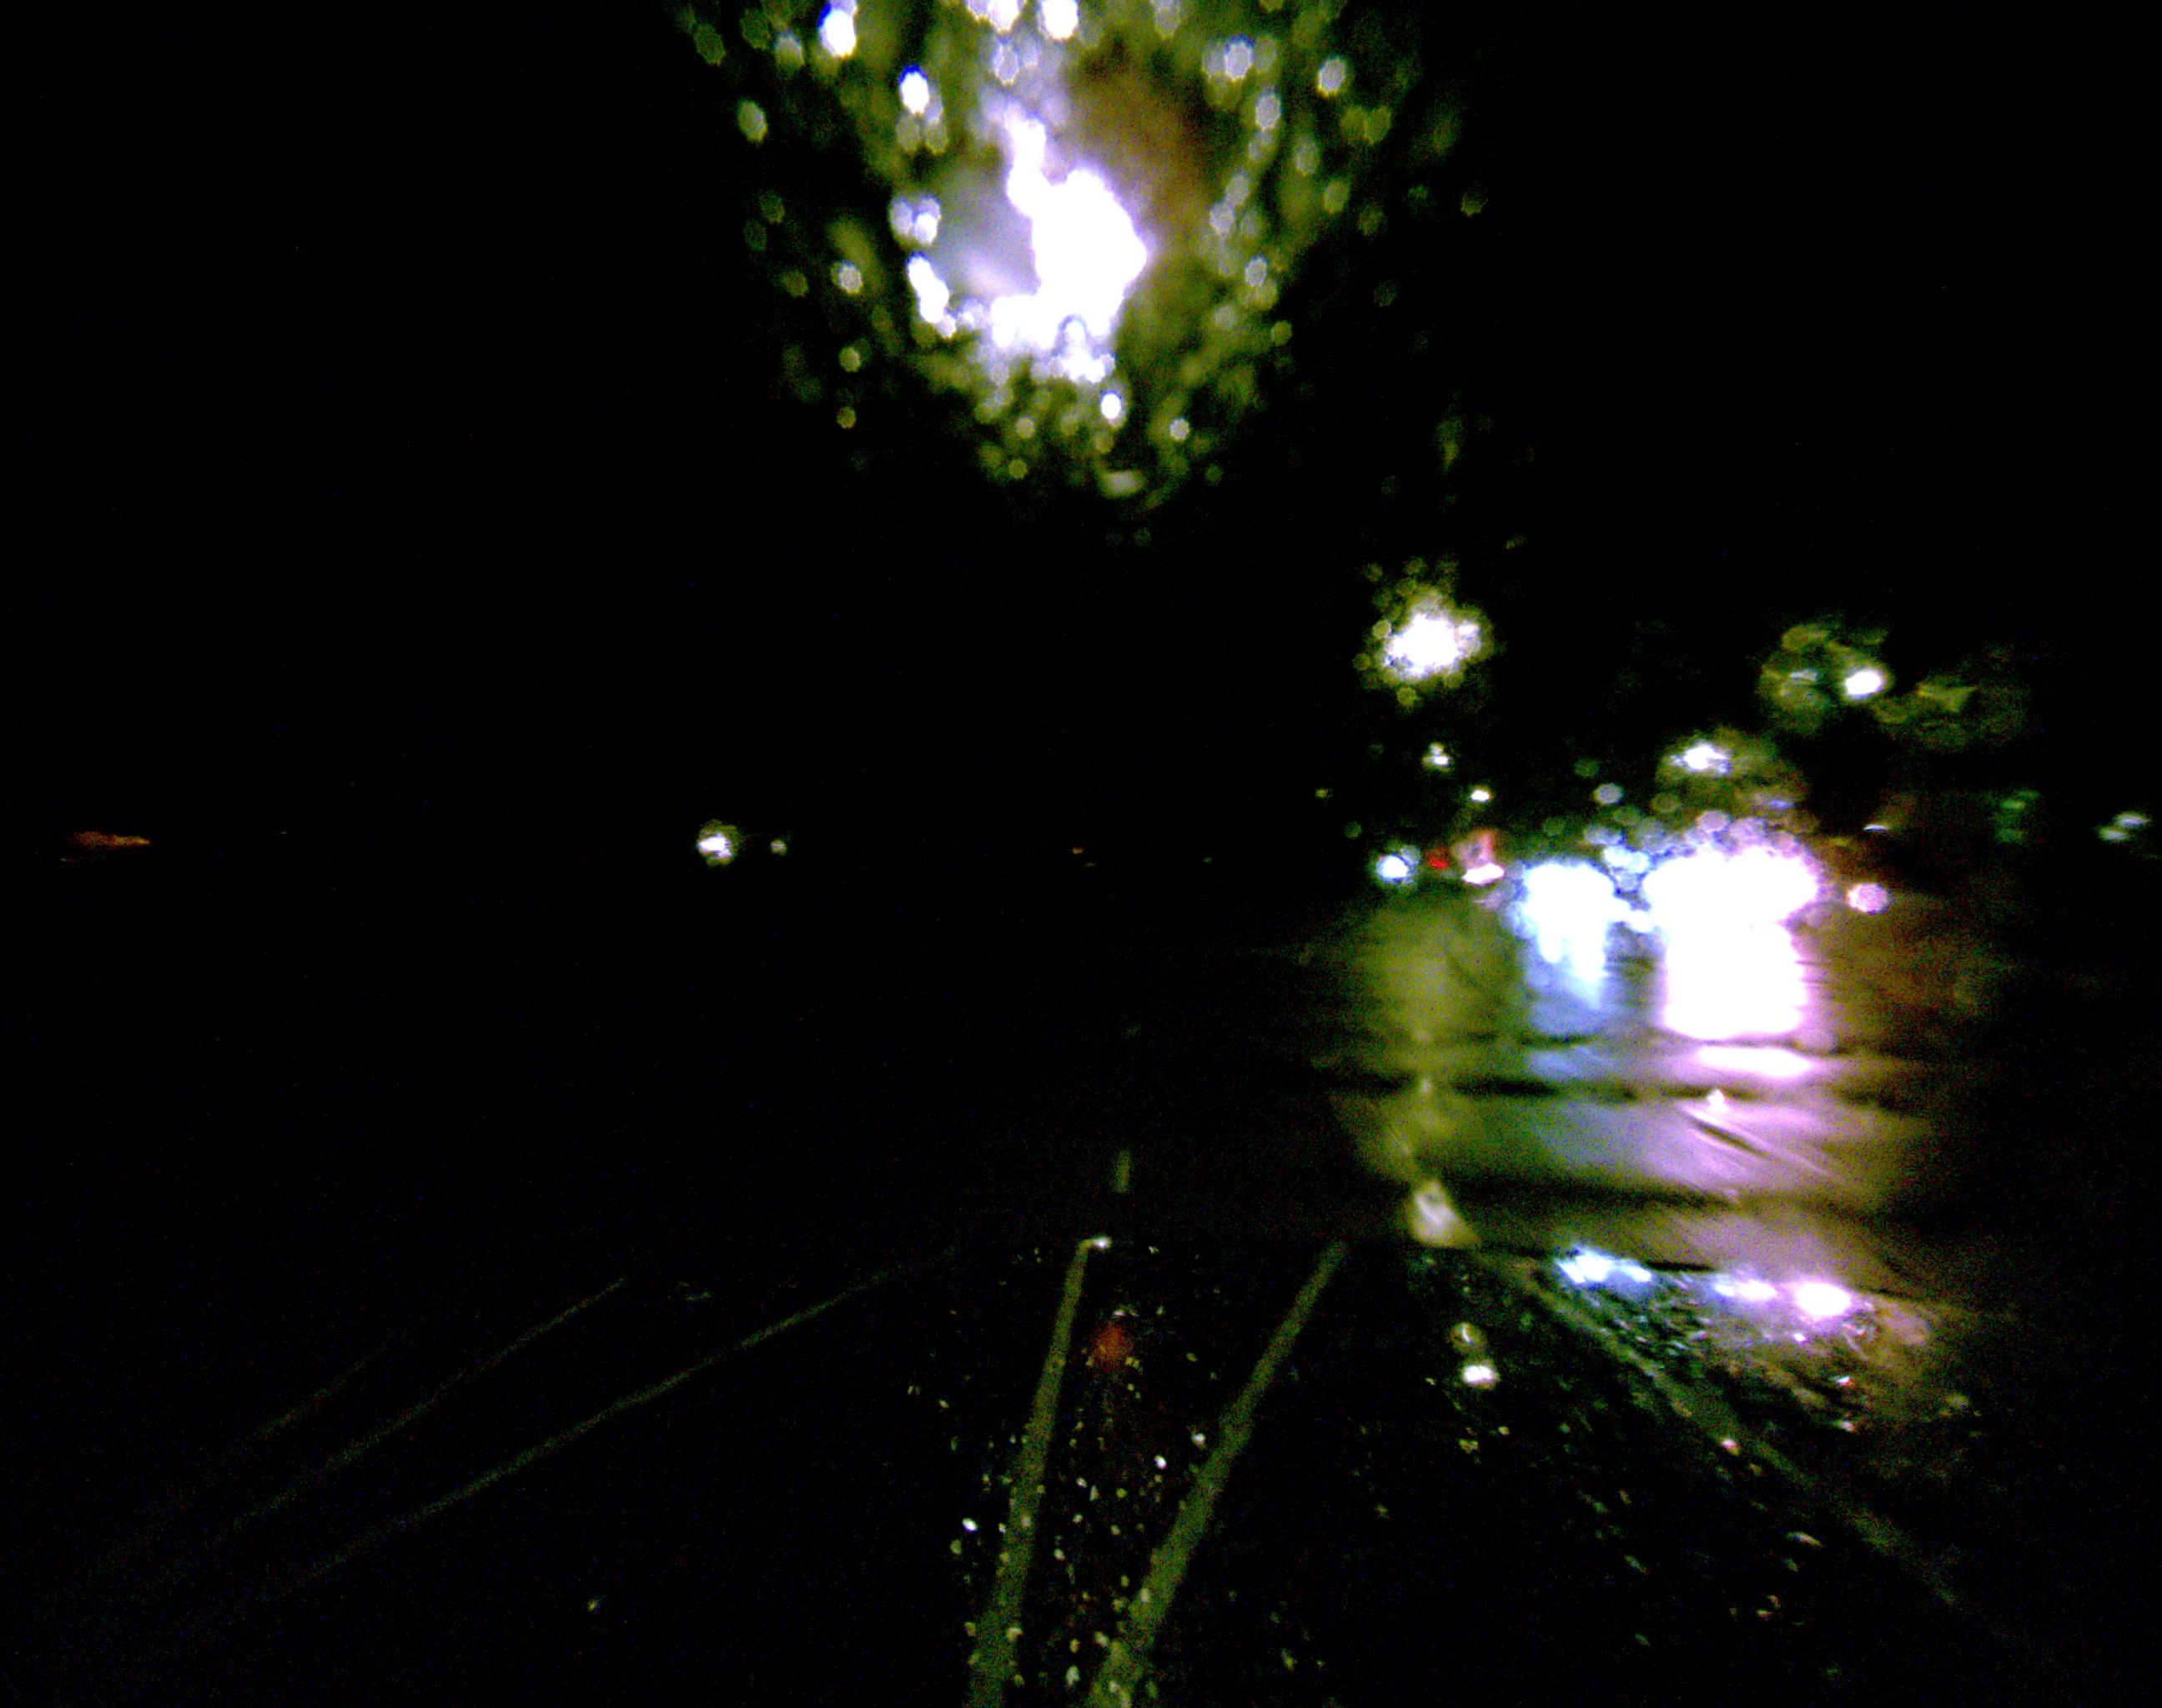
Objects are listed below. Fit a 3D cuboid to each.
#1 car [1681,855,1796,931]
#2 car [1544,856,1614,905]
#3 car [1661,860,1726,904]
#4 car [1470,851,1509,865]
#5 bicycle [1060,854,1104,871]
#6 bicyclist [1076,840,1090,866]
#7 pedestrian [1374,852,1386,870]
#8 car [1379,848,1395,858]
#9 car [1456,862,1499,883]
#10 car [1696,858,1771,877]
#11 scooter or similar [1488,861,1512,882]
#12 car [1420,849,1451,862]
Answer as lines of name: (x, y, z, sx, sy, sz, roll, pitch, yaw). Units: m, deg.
car: (15.945, 0.833, 18.320, 1.830, 1.518, 4.884, -1, 0, 44)
car: (19.364, 0.955, 29.469, 1.946, 1.709, 4.451, -1, 0, 37)
car: (26.555, 1.158, 33.043, 1.830, 1.696, 4.203, -1, 0, 34)
car: (52.357, 0.556, 97.554, 2.069, 1.706, 5.039, -1, 0, -4)
bicycle: (0.081, 0.484, 43.419, 2.417, 0.971, 0.622, -1, 0, 17)
bicyclist: (0.127, -0.059, 43.416, 0.604, 1.439, 0.617, -1, 1, 18)
pedestrian: (24.775, 0.583, 62.941, 0.727, 1.476, 0.836, -1, 0, 4)
car: (51.027, -0.167, 126.670, 2.066, 1.706, 5.047, -1, 0, 18)
car: (30.739, 1.407, 59.055, 1.667, 1.494, 3.755, -1, 0, 6)
car: (49.506, 0.973, 57.743, 1.831, 1.364, 3.942, -1, 0, -15)
scooter or similar: (23.123, 0.969, 41.959, 1.101, 1.091, 0.318, 2, 2, 32)
car: (47.449, 0.192, 101.844, 2.061, 1.722, 5.133, -1, 0, 4)
